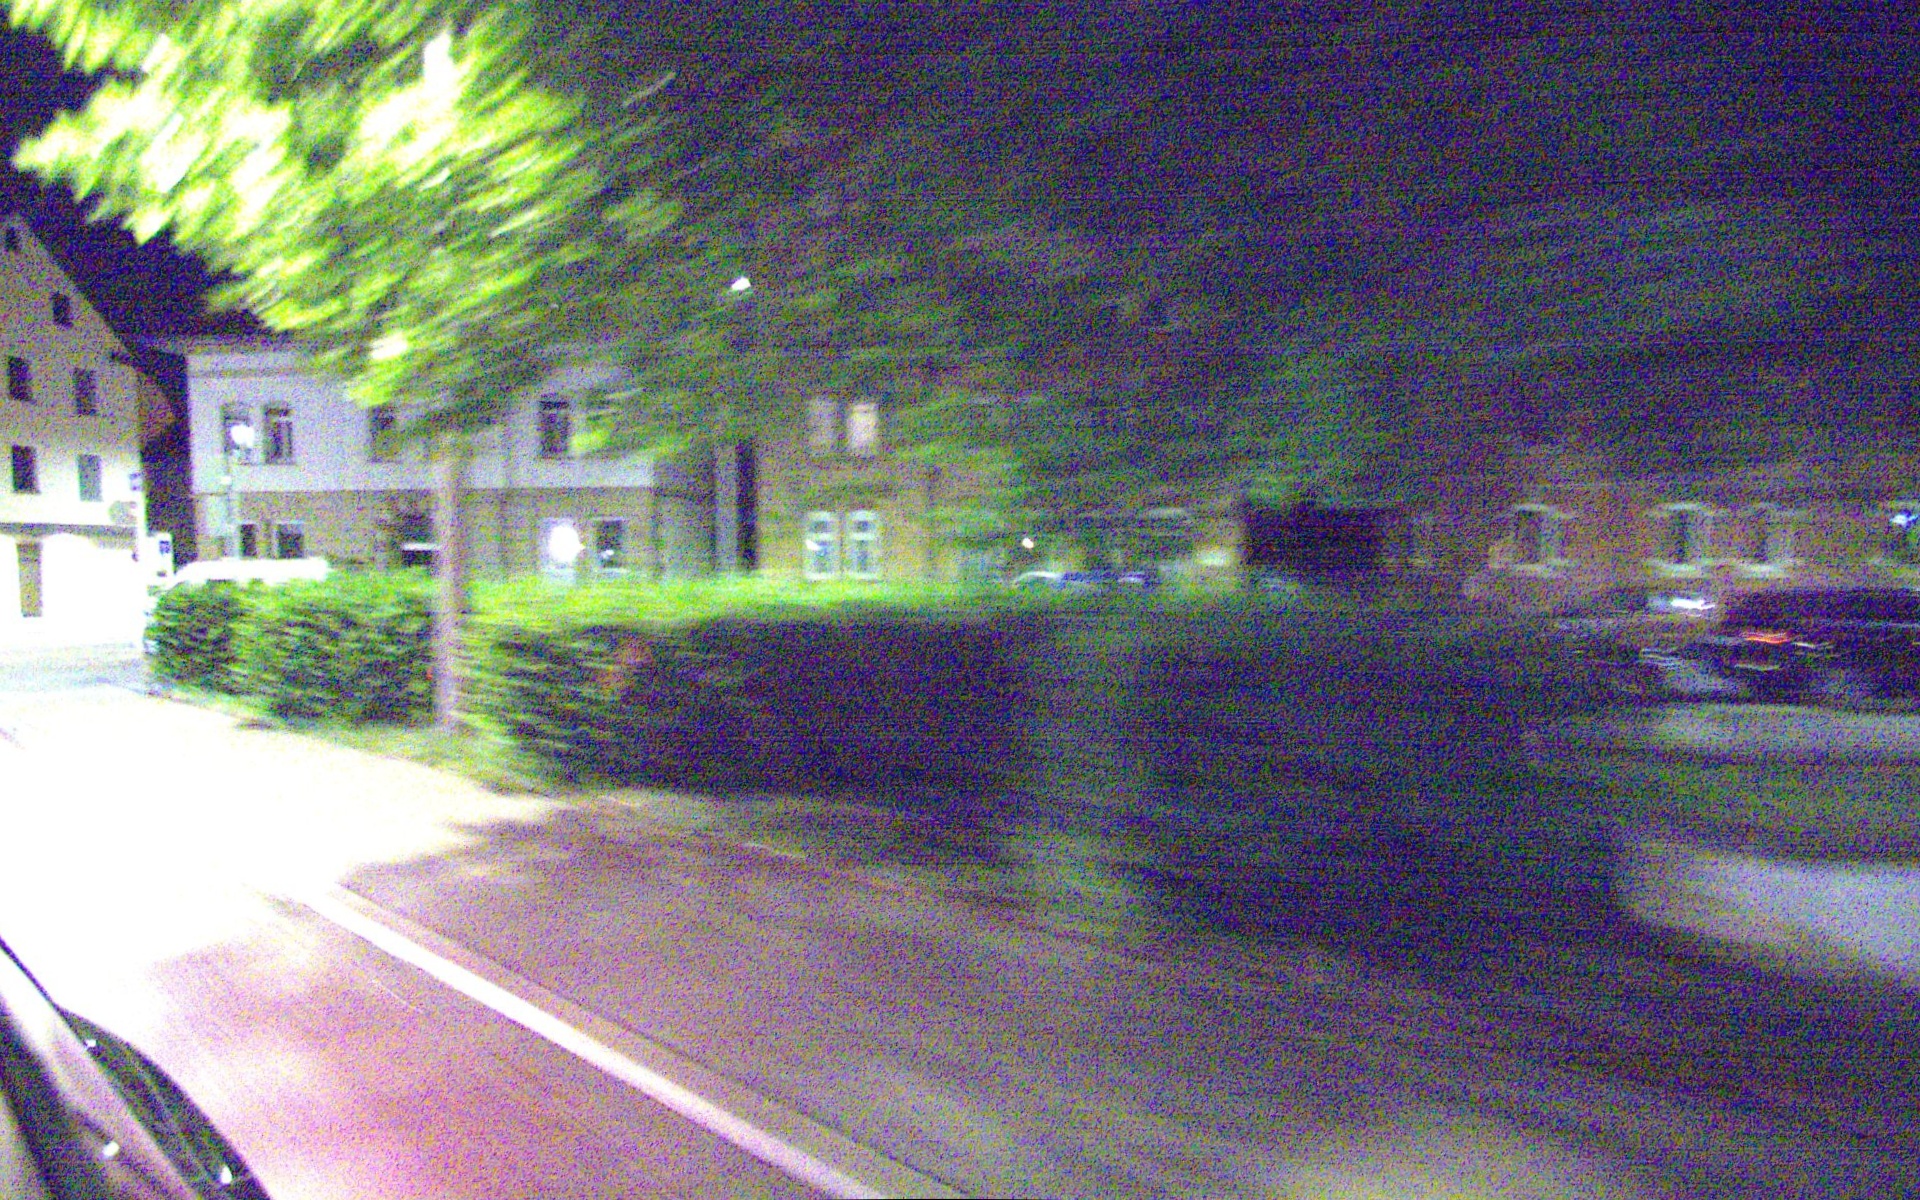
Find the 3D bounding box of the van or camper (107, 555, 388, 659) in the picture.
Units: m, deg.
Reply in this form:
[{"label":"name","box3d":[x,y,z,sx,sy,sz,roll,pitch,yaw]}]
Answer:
[{"label":"van or camper","box3d":[-18.418,0.196,26.280,6.153,2.555,2.160,0,-1,8]}]

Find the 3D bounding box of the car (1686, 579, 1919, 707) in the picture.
[{"label":"car","box3d":[13.590,0.589,14.419,4.825,1.707,2.041,0,-1,9]}]

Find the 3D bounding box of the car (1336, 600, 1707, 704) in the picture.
[{"label":"car","box3d":[8.146,0.739,15.122,4.422,1.425,1.881,0,-1,9]}]

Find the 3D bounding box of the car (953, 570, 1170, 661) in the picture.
[{"label":"car","box3d":[2.325,0.328,23.260,4.749,1.969,1.995,0,1,8]}]

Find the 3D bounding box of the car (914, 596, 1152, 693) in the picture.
[{"label":"car","box3d":[1.188,0.652,16.106,3.585,1.402,1.700,0,1,9]}]

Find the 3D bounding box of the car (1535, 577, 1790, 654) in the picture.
[{"label":"car","box3d":[14.756,0.296,21.458,4.051,1.521,1.707,0,2,7]}]
